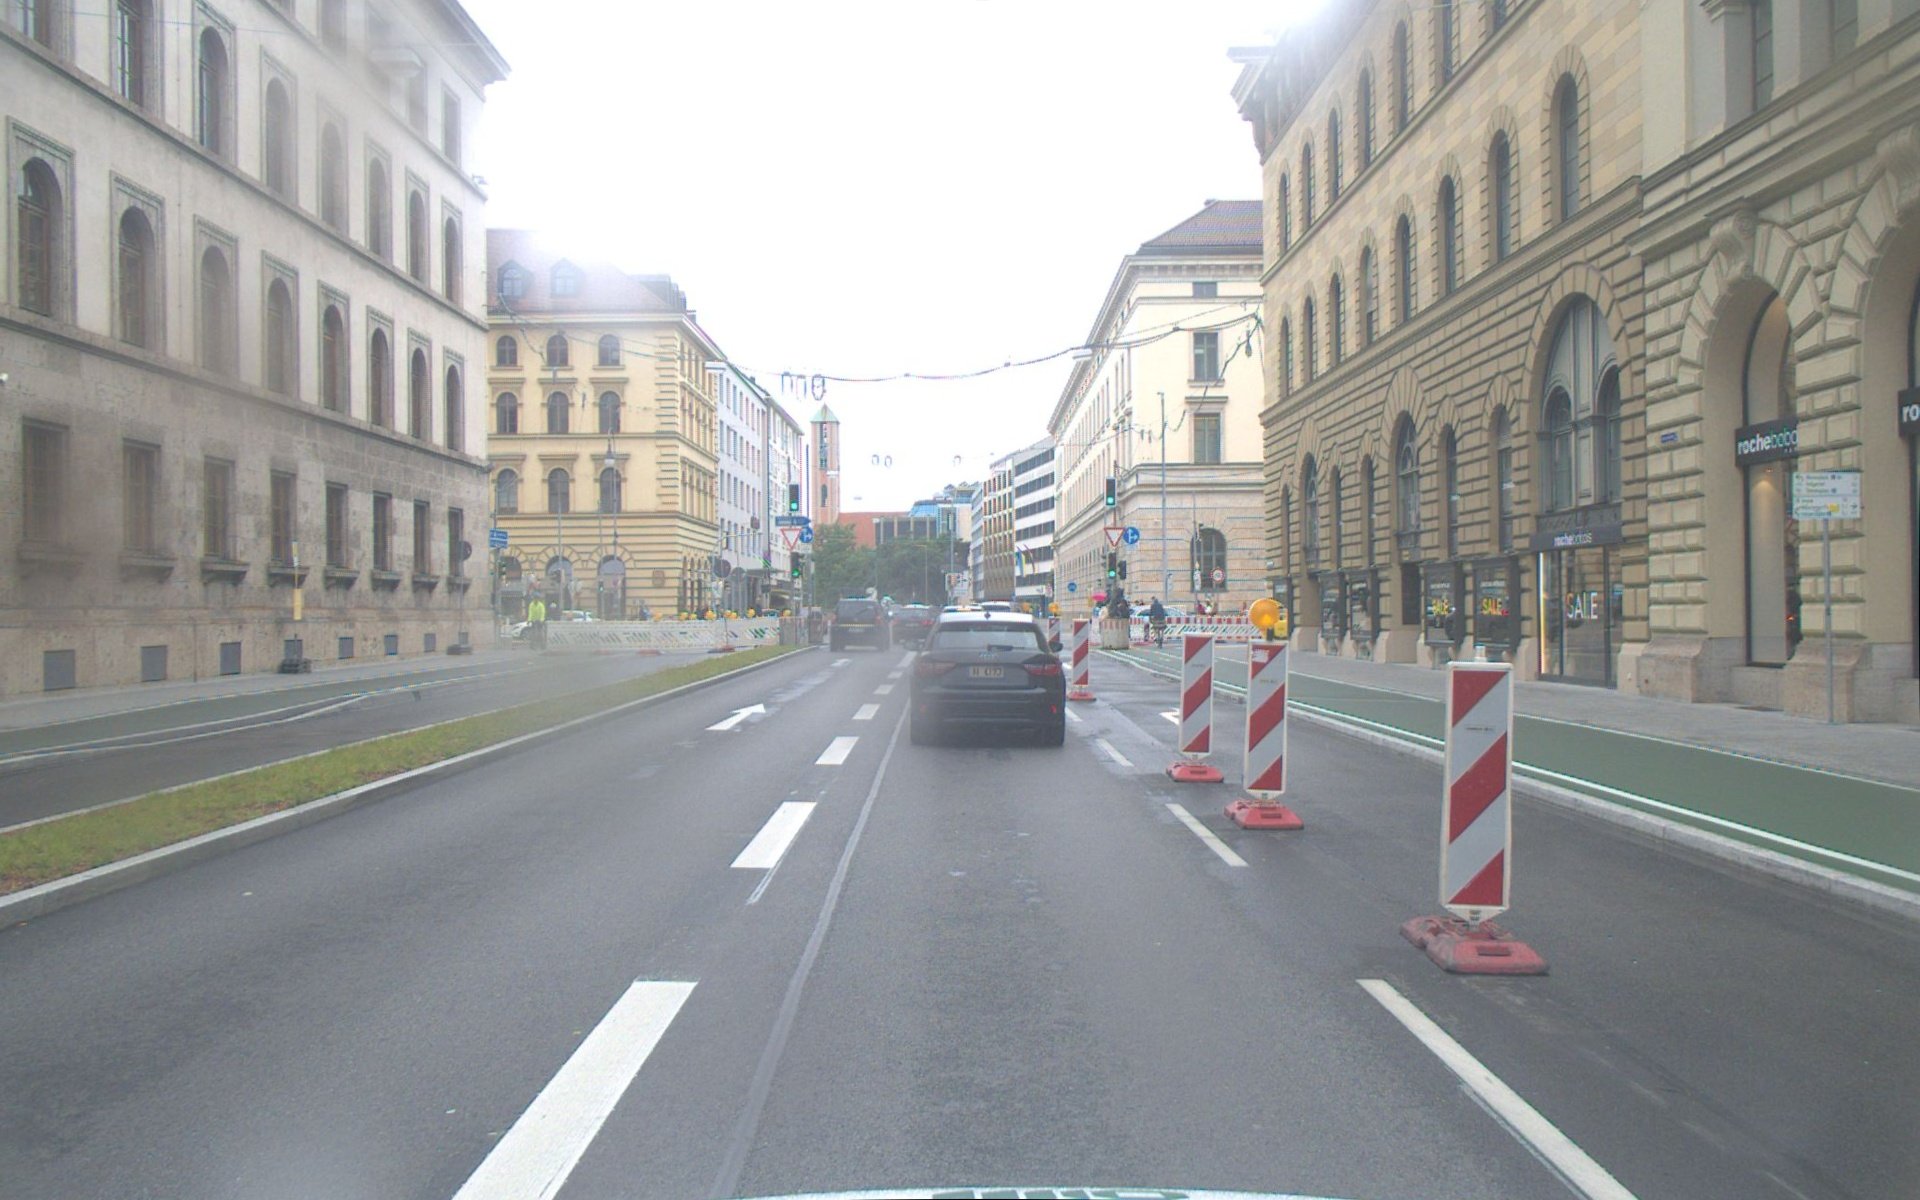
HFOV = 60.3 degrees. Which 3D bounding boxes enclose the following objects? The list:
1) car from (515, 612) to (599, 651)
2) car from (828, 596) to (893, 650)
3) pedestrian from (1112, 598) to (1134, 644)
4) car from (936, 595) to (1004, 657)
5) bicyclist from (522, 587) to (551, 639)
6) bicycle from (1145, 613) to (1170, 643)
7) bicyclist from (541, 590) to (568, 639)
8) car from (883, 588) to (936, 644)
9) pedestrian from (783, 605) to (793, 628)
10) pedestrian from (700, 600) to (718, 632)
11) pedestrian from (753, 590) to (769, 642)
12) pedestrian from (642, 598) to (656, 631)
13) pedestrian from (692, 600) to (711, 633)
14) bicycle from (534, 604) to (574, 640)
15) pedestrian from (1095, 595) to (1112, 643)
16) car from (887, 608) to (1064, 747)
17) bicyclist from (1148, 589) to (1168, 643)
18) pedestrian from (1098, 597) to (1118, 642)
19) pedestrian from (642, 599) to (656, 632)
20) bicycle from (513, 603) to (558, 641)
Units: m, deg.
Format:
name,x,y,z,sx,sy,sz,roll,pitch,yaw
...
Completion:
name,x,y,z,sx,sy,sz,roll,pitch,yaw
car,-19.509,1.513,80.173,3.666,1.830,1.866,-1,-1,-4
car,-3.079,0.703,51.969,1.827,1.629,3.850,-1,0,-1
pedestrian,5.700,0.719,57.810,0.688,1.594,0.682,1,0,2
car,0.237,0.692,46.366,1.733,1.645,3.998,1,0,-2
bicyclist,-14.712,0.455,57.416,0.781,1.779,0.689,0,0,3
bicycle,7.000,0.998,58.604,0.573,1.029,1.655,1,0,-4
bicyclist,-14.831,0.529,60.547,0.781,1.807,0.689,0,0,3
car,-1.917,0.603,64.125,1.953,2.049,3.999,0,0,-1
pedestrian,-13.880,1.323,133.253,0.722,1.803,0.736,1,0,-1
pedestrian,-14.029,0.881,92.296,0.718,1.803,0.739,0,0,21
pedestrian,-6.905,0.546,57.350,0.503,1.773,1.041,0,0,-10
pedestrian,-17.089,0.812,90.785,0.720,1.803,0.737,1,0,-10
pedestrian,-14.311,0.890,91.553,0.718,1.803,0.761,0,0,21
bicycle,-14.839,0.787,60.520,0.770,1.264,2.200,0,0,4
pedestrian,4.924,0.649,56.853,0.520,1.648,0.674,1,0,2
car,0.146,0.812,19.102,1.825,1.412,3.999,0,0,-1
bicyclist,7.002,0.557,58.597,0.555,1.886,0.798,1,0,-4
pedestrian,5.256,0.686,58.713,0.688,1.594,0.584,1,0,2
pedestrian,-17.194,0.842,91.534,0.720,1.803,0.737,1,0,-10
bicycle,-14.720,0.752,57.418,0.770,1.264,2.450,0,0,4
